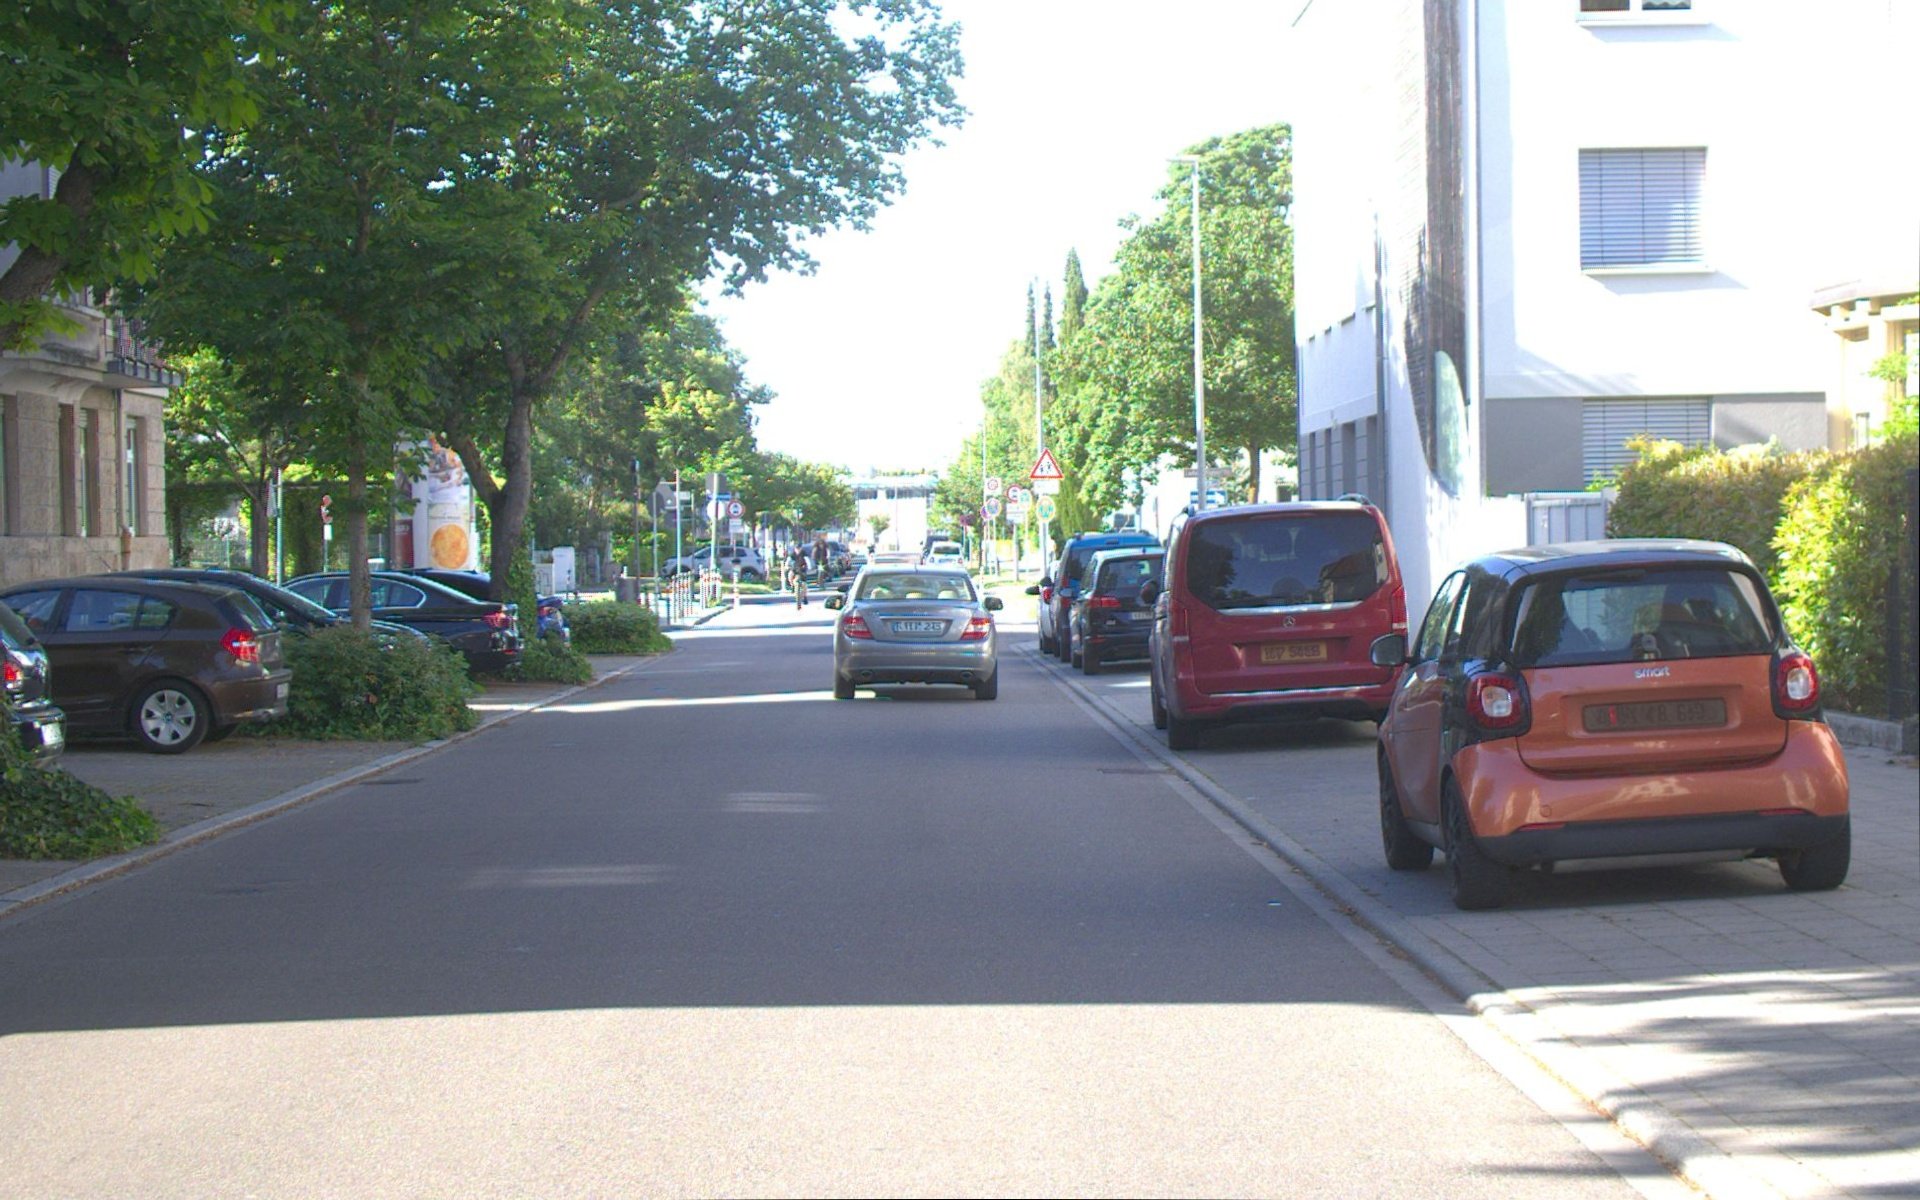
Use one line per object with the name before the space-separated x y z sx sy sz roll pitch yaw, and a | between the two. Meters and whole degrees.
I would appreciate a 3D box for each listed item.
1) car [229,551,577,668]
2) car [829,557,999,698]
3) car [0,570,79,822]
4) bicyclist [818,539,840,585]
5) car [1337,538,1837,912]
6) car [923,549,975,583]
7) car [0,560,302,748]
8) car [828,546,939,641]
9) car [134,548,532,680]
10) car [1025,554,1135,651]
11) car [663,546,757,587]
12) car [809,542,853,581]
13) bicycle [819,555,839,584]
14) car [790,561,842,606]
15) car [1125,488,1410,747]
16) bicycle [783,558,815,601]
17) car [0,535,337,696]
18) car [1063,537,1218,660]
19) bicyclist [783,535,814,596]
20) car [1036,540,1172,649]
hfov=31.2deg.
car | -7.550 0.133 46.943 4.473 1.474 1.869 1 0 -2
car | -0.476 0.301 37.852 1.726 1.415 3.960 2 0 0
car | -7.409 0.486 20.349 4.021 1.439 1.800 2 0 -8
bicyclist | -4.336 -1.259 113.512 0.680 1.504 0.655 0 1 1
car | 2.744 0.492 15.688 1.592 1.475 3.247 -2 1 -1
car | -0.465 -1.385 139.665 1.722 1.325 4.001 -1 1 -5
car | -7.648 0.411 28.675 3.986 1.417 1.771 1 2 -1
car | -1.257 -0.087 56.343 1.707 1.443 4.203 2 0 -1
car | -7.498 0.171 41.454 4.473 1.474 1.869 1 0 -2
car | 1.891 0.053 55.055 1.564 1.406 3.729 -4 0 0
car | -9.589 -1.292 131.922 3.493 1.528 1.645 -1 1 -7
car | -6.045 -1.768 160.691 1.787 1.527 4.000 -2 -3 -5
bicycle | -4.329 -1.017 113.473 0.589 0.928 1.850 0 1 0
car | -5.785 -0.674 137.489 1.872 1.722 4.001 0 1 -5
car | 2.423 0.131 28.298 1.871 1.898 5.197 -1 0 0
bicycle | -4.096 -0.540 87.713 0.719 1.075 1.891 -1 1 0
car | -8.571 0.149 35.242 4.171 1.495 2.000 2 0 -8
car | 2.316 -0.051 44.922 1.737 1.526 4.179 -1 1 -1
bicyclist | -4.122 -0.879 87.795 0.721 1.531 1.137 -1 1 -1
car | 2.080 -0.062 50.691 1.682 1.430 4.266 -4 0 -1
